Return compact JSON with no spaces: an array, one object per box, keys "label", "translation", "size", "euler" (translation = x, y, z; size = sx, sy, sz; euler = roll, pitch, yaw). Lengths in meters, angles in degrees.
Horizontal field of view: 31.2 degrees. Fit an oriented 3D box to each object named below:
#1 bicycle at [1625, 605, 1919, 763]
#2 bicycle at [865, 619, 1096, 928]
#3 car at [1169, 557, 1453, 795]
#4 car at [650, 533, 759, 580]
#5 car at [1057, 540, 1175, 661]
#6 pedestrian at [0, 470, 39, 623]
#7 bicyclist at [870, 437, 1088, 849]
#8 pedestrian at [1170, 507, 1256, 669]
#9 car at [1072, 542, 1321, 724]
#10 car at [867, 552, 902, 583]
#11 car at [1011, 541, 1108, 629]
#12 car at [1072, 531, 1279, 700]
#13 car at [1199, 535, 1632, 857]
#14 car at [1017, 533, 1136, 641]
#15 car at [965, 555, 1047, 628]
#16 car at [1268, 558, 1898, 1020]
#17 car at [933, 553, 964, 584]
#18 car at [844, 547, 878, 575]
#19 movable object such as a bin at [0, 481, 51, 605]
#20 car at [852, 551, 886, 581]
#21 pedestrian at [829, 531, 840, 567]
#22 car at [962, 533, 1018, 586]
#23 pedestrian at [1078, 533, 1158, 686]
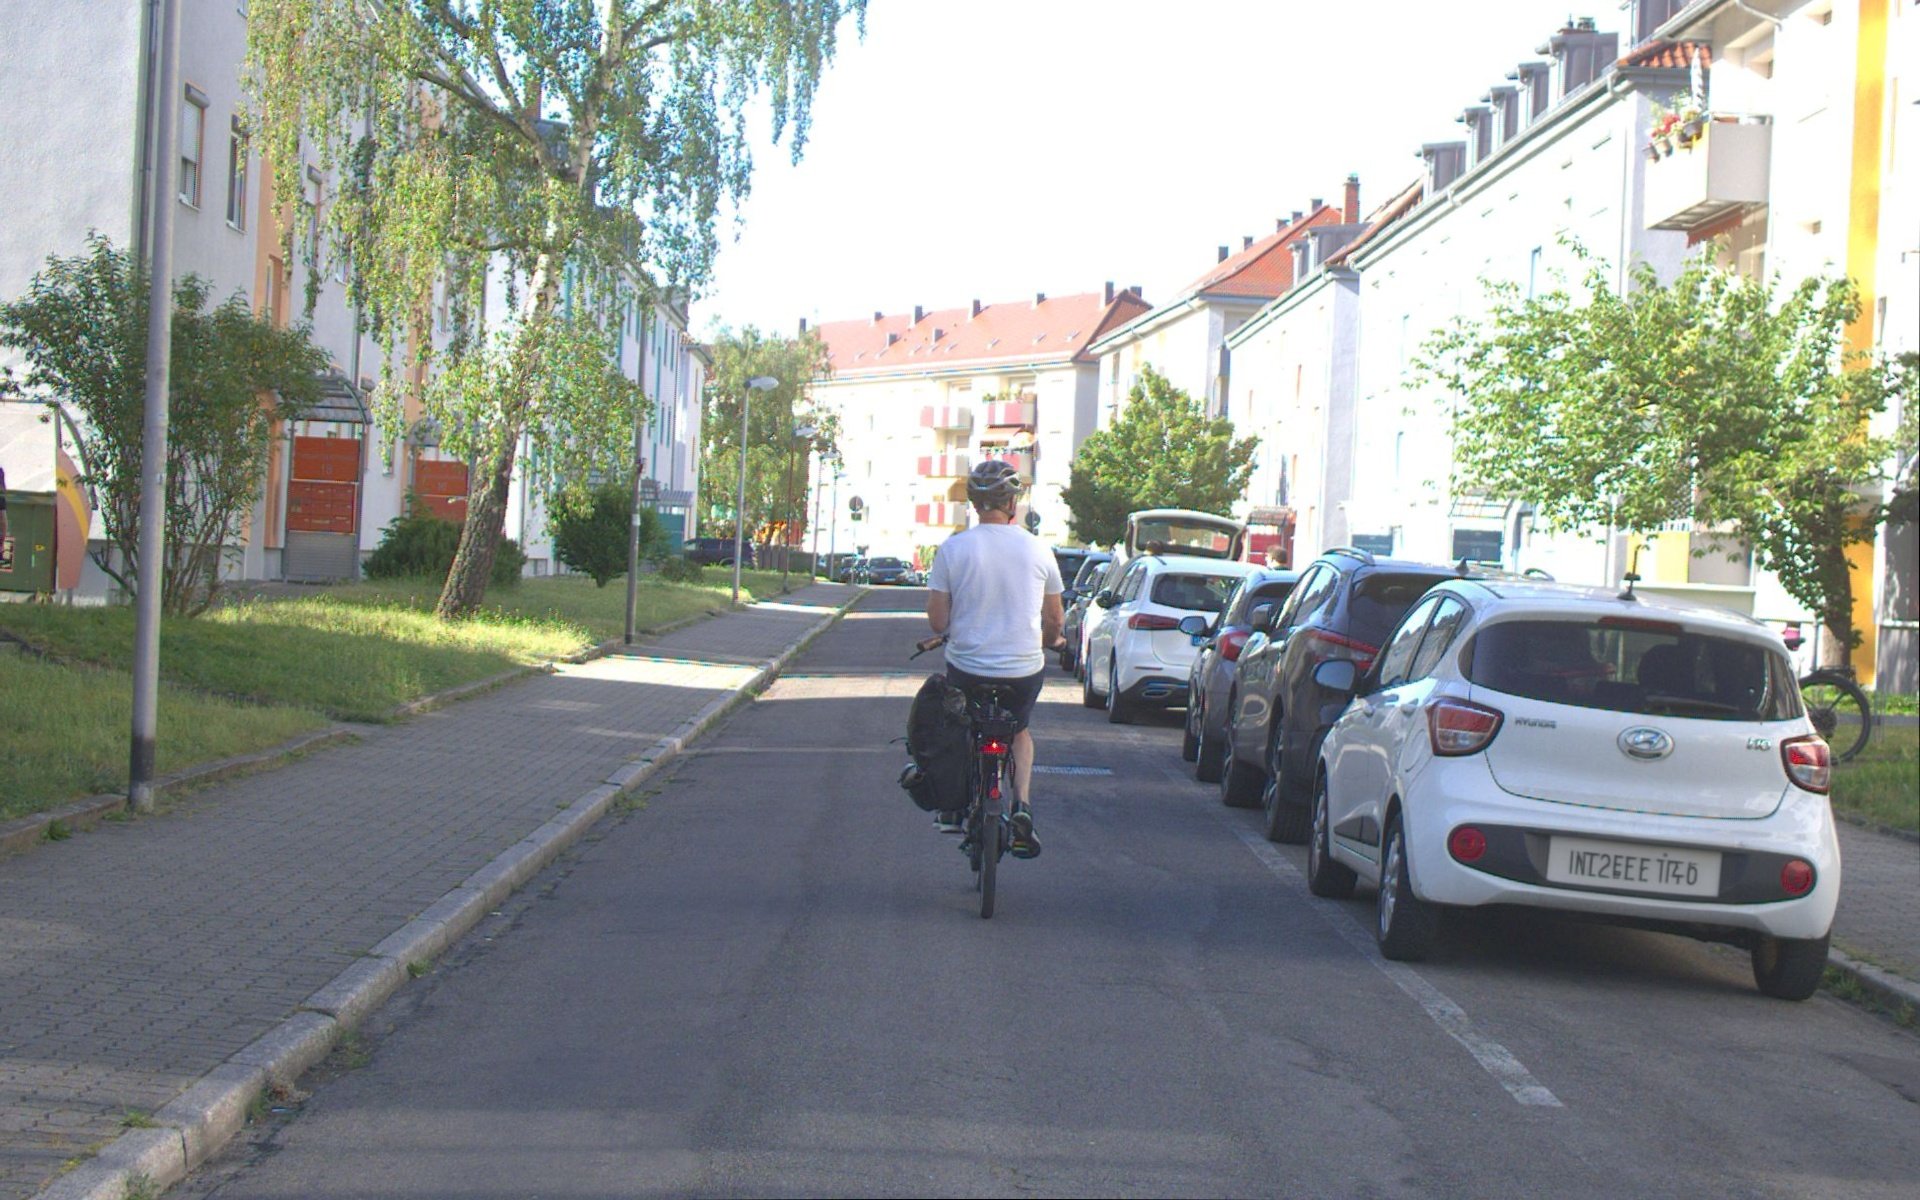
[{"label":"bicycle","translation":[6.497,0.654,26.900],"size":[2.424,1.126,0.879],"euler":[2,1,6]},{"label":"bicycle","translation":[0.051,0.680,14.350],"size":[0.808,1.124,2.102],"euler":[2,1,-3]},{"label":"car","translation":[2.444,0.480,24.776],"size":[1.647,1.444,4.060],"euler":[5,1,2]},{"label":"car","translation":[-10.134,-1.733,136.423],"size":[4.231,1.633,1.583],"euler":[3,1,-4]},{"label":"car","translation":[2.209,-0.007,48.272],"size":[1.480,1.524,2.940],"euler":[5,1,3]},{"label":"pedestrian","translation":[-8.469,-0.475,29.942],"size":[0.686,1.312,0.575],"euler":[2,1,0]},{"label":"bicyclist","translation":[0.065,0.169,14.320],"size":[0.808,1.638,0.899],"euler":[2,1,-3]},{"label":"pedestrian","translation":[2.679,-0.135,36.473],"size":[0.819,1.681,0.604],"euler":[1,1,-1]},{"label":"car","translation":[2.159,0.253,32.554],"size":[1.772,1.499,4.481],"euler":[4,1,-3]},{"label":"car","translation":[-3.428,-1.460,154.859],"size":[1.469,1.331,3.141],"euler":[2,1,-3]},{"label":"car","translation":[1.807,-0.300,63.543],"size":[1.641,1.493,4.156],"euler":[3,1,0]},{"label":"car","translation":[2.321,0.124,38.335],"size":[1.994,1.607,4.995],"euler":[5,1,1]},{"label":"car","translation":[2.451,0.451,19.533],"size":[1.723,1.573,4.353],"euler":[2,1,-2]},{"label":"car","translation":[1.941,-0.247,58.446],"size":[1.783,1.642,4.469],"euler":[4,1,0]},{"label":"car","translation":[1.158,-0.235,87.663],"size":[1.862,1.662,4.127],"euler":[5,1,-1]},{"label":"car","translation":[2.437,0.665,14.421],"size":[1.713,1.504,3.854],"euler":[6,1,-2]},{"label":"car","translation":[-0.586,-1.584,171.703],"size":[1.381,1.492,3.077],"euler":[2,1,-3]},{"label":"car","translation":[-4.778,-1.875,166.235],"size":[1.469,1.331,3.141],"euler":[-1,1,-4]},{"label":"movable object such as a bin","translation":[-11.007,-0.680,38.238],"size":[1.387,1.331,1.228],"euler":[5,1,-1]},{"label":"car","translation":[-4.241,-1.595,159.555],"size":[1.469,1.331,3.141],"euler":[2,1,-3]},{"label":"pedestrian","translation":[-5.513,-2.234,151.273],"size":[0.434,1.569,0.543],"euler":[2,1,-1]},{"label":"car","translation":[1.040,-1.454,122.541],"size":[1.674,1.733,3.943],"euler":[4,1,-3]},{"label":"pedestrian","translation":[1.668,0.093,36.398],"size":[0.739,1.569,0.880],"euler":[2,1,-1]}]
